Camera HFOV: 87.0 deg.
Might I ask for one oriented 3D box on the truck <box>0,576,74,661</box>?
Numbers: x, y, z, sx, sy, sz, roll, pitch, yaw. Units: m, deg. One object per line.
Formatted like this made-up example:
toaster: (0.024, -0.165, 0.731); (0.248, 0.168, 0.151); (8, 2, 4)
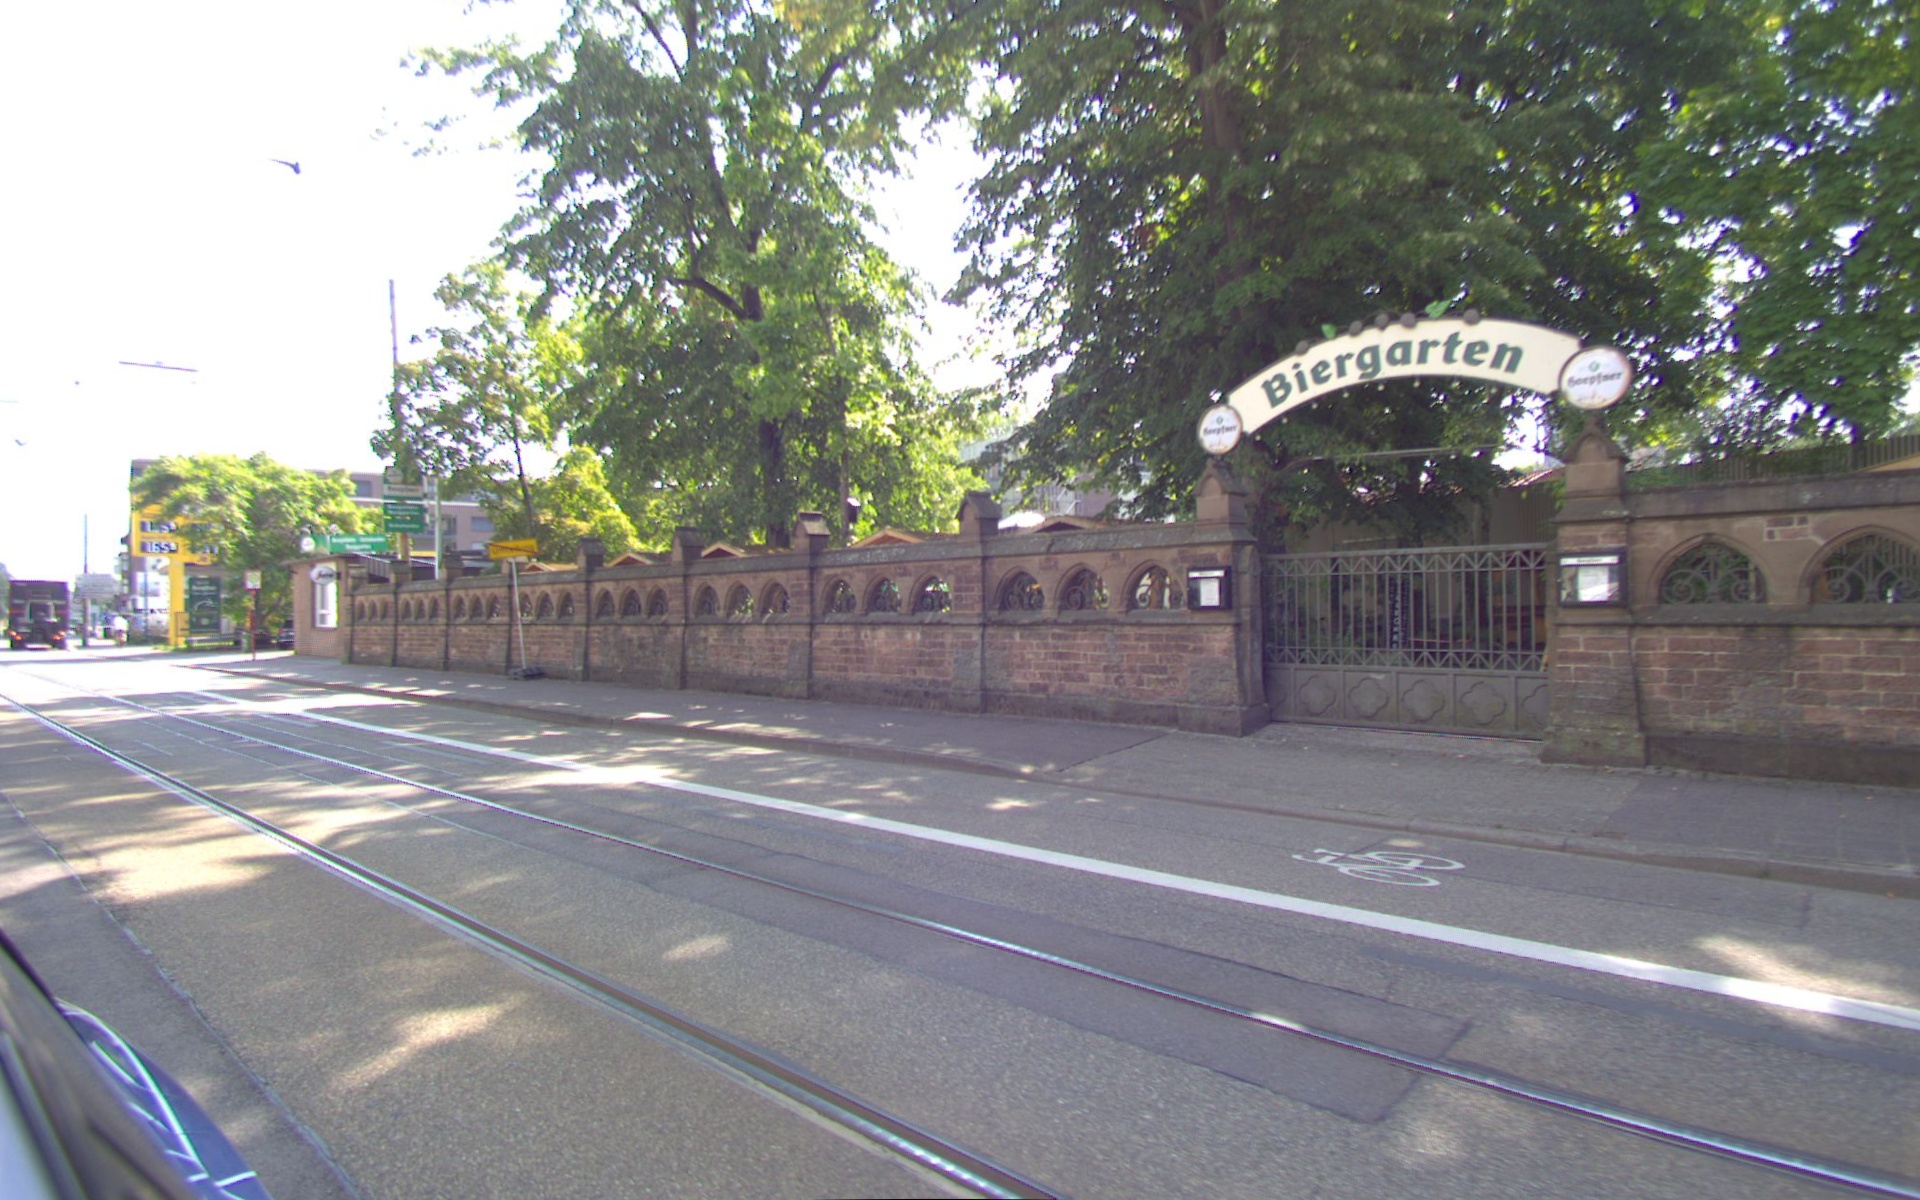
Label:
truck: (-55.562, 1.108, 60.936); (3.126, 4.487, 16.861); (0, -1, -42)

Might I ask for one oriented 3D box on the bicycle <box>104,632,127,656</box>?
bicycle: (-44.773, 2.310, 53.673); (0.775, 1.250, 2.038); (0, -1, -36)

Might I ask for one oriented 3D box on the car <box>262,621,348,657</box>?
car: (-29.476, 1.704, 45.719); (1.905, 1.472, 4.540); (-1, 0, -14)

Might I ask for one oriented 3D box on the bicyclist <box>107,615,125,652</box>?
bicyclist: (-44.785, 1.771, 53.696); (0.632, 1.944, 1.178); (0, -1, -37)
